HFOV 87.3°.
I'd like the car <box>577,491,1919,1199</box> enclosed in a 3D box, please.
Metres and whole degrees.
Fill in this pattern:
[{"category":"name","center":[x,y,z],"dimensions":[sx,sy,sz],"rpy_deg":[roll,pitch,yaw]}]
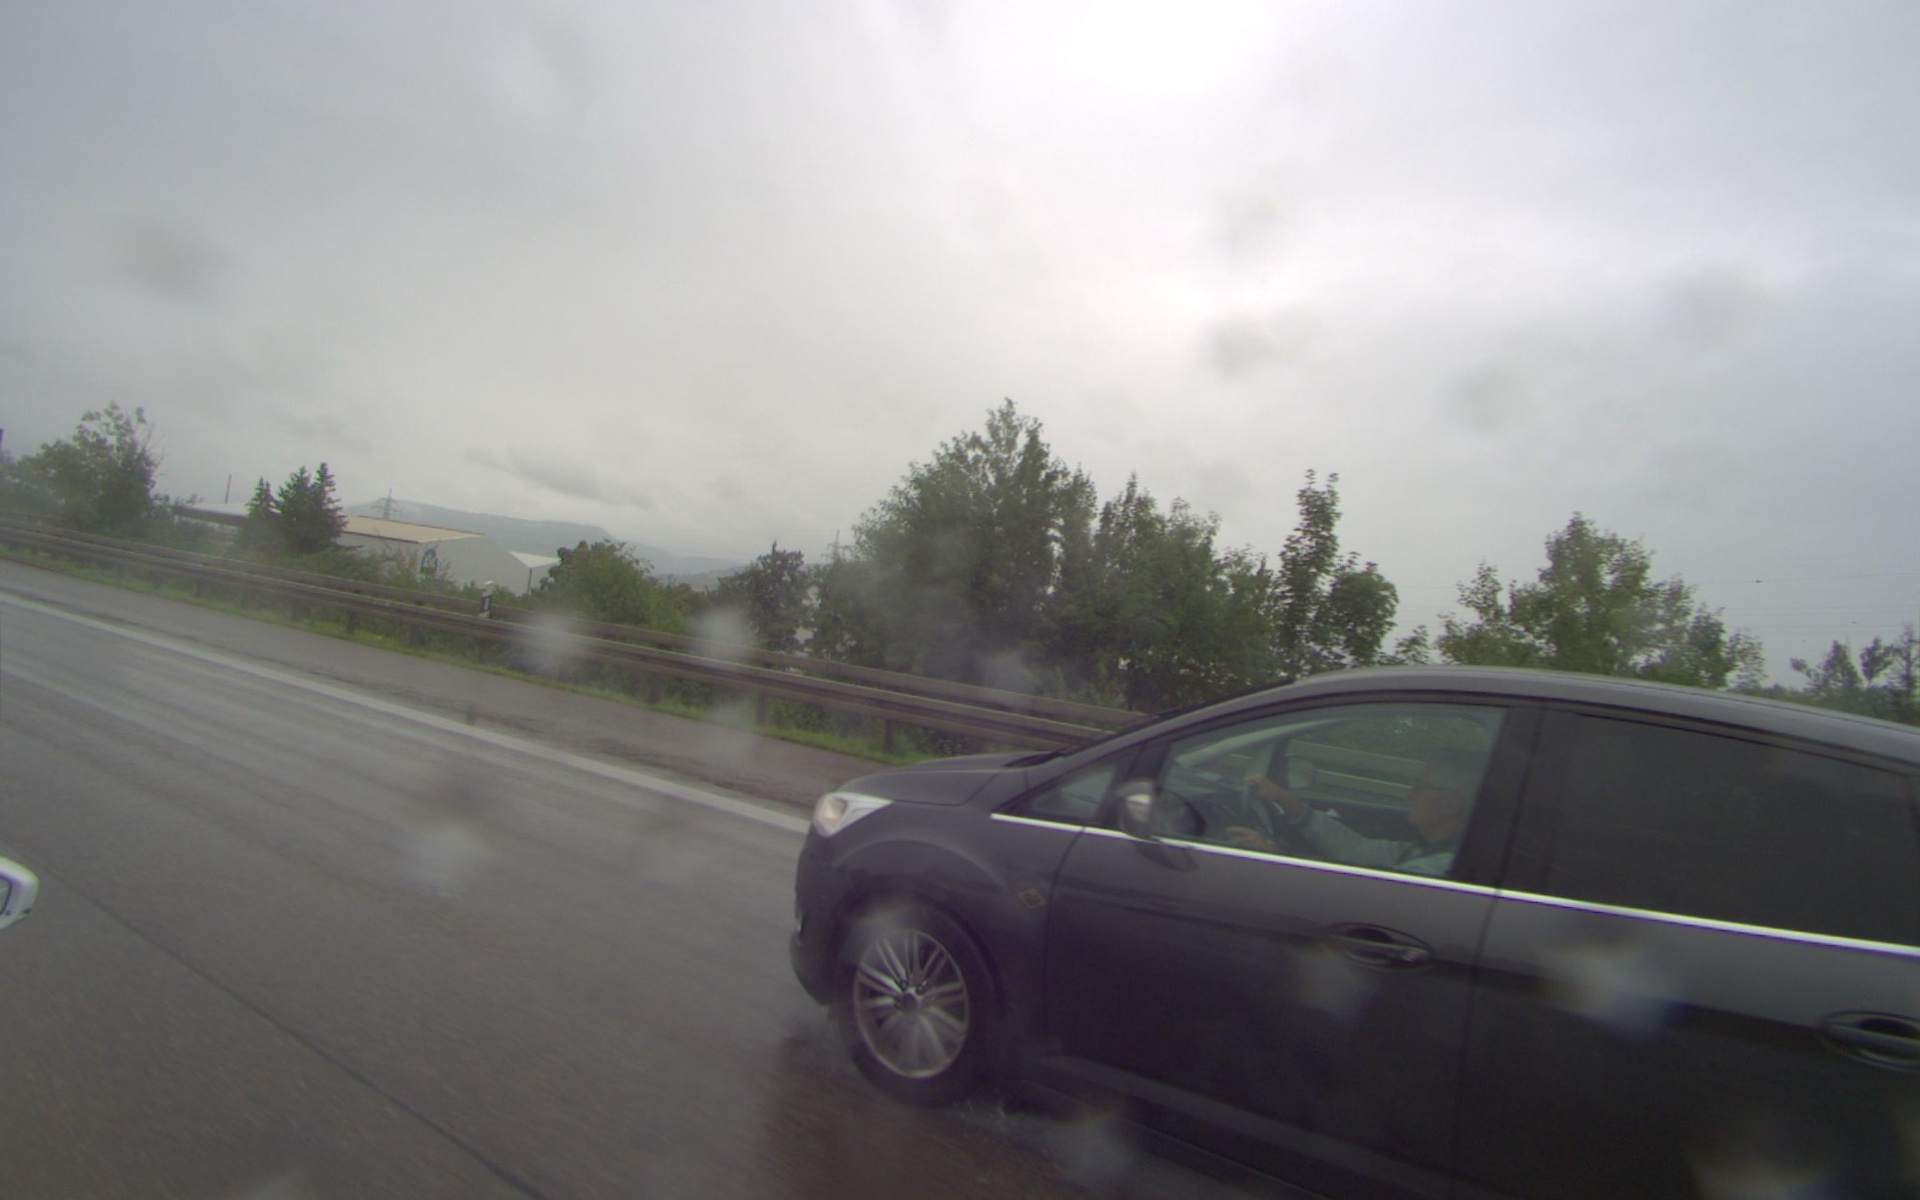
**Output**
[{"category":"car","center":[1.667,0.856,3.392],"dimensions":[5.624,1.766,2.462],"rpy_deg":[7,-2,31]}]
